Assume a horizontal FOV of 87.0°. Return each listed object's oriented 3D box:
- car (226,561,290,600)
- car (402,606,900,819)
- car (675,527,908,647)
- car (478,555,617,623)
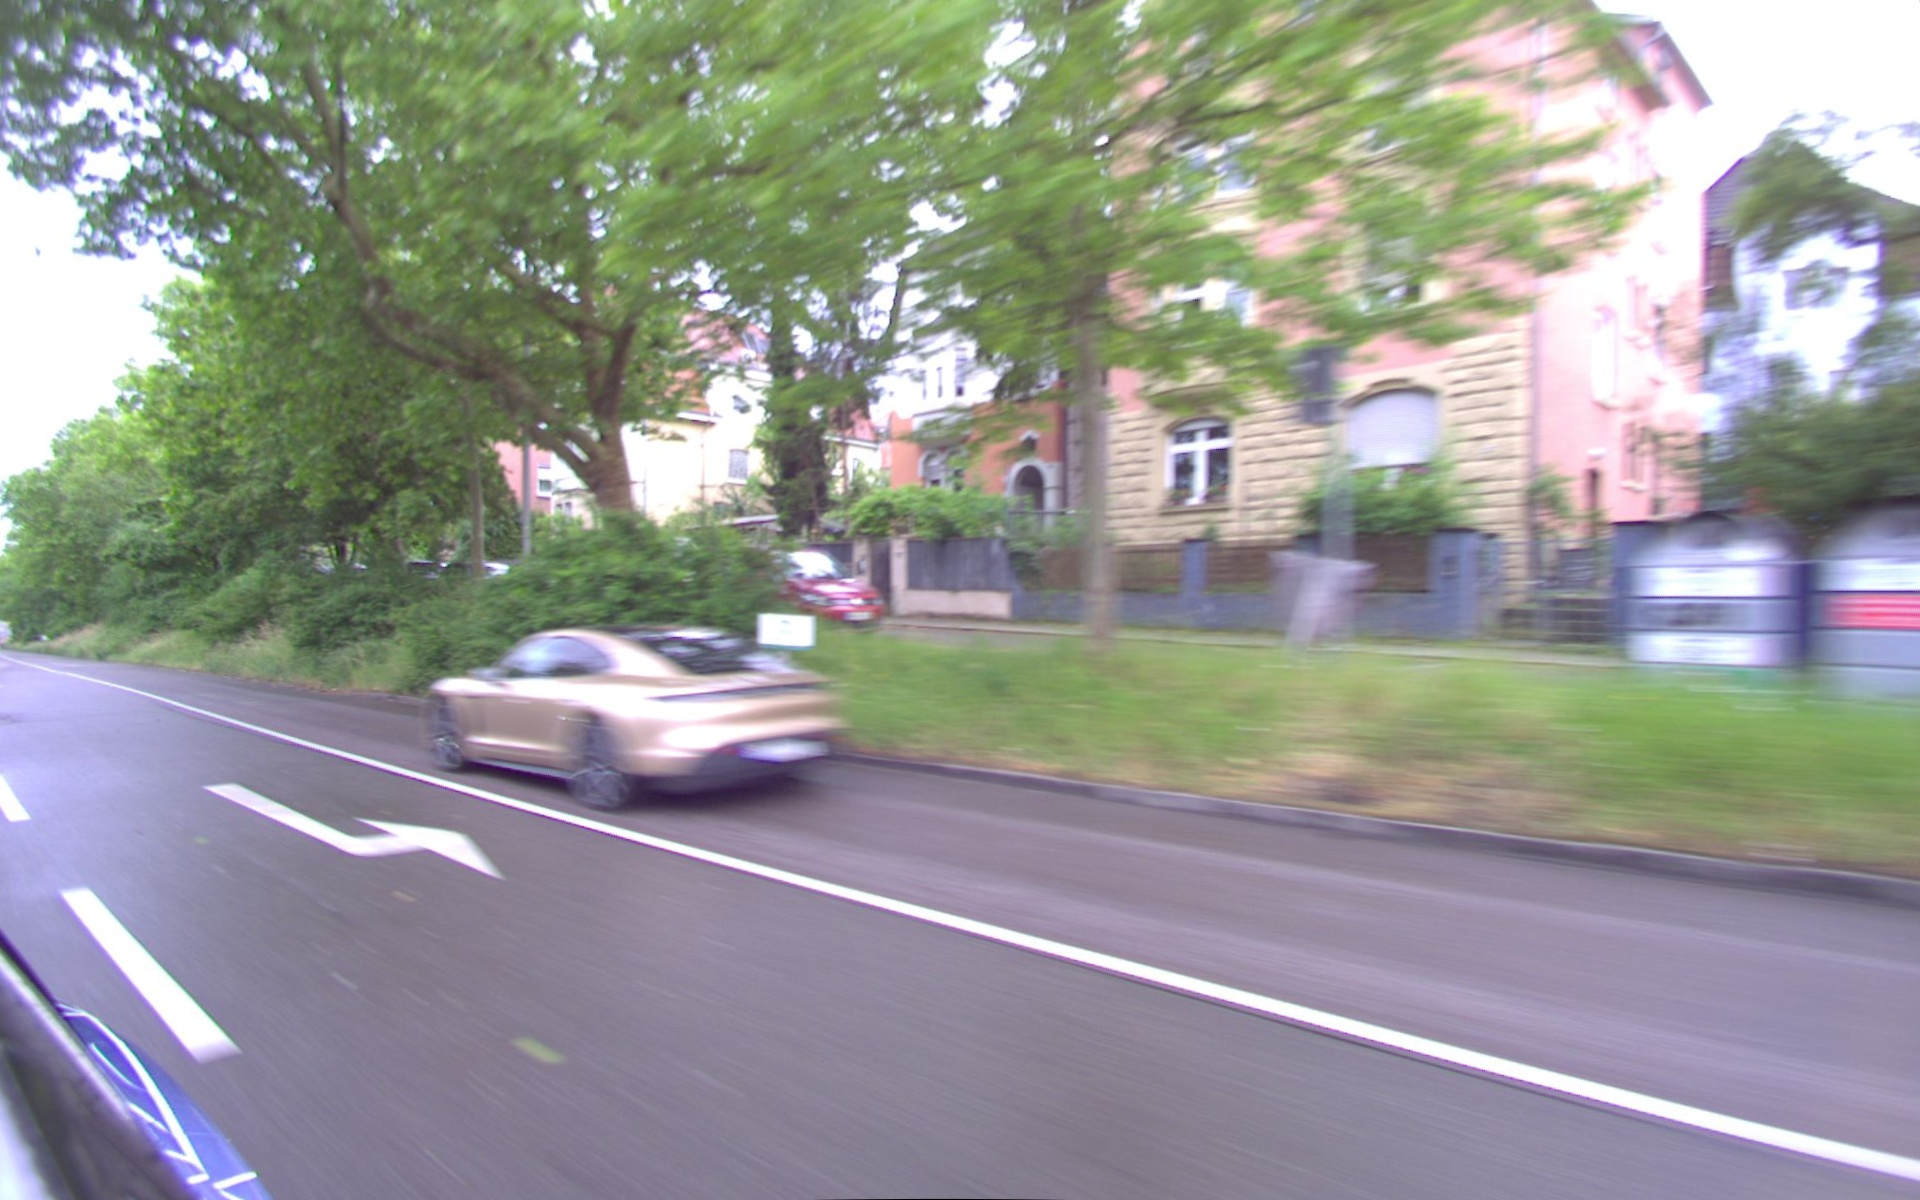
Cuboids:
[{"bbox_3d":[-32.024,-0.869,46.149,1.808,1.569,4.290,-2,-1,-43],"label":"car"},{"bbox_3d":[-2.948,0.822,9.043,4.710,1.363,2.050,-2,0,41],"label":"car"},{"bbox_3d":[-3.116,-0.154,17.948,1.808,1.857,4.632,-2,-1,-43],"label":"car"},{"bbox_3d":[-10.734,-0.241,26.170,1.808,1.569,4.632,-2,0,-43],"label":"car"}]
